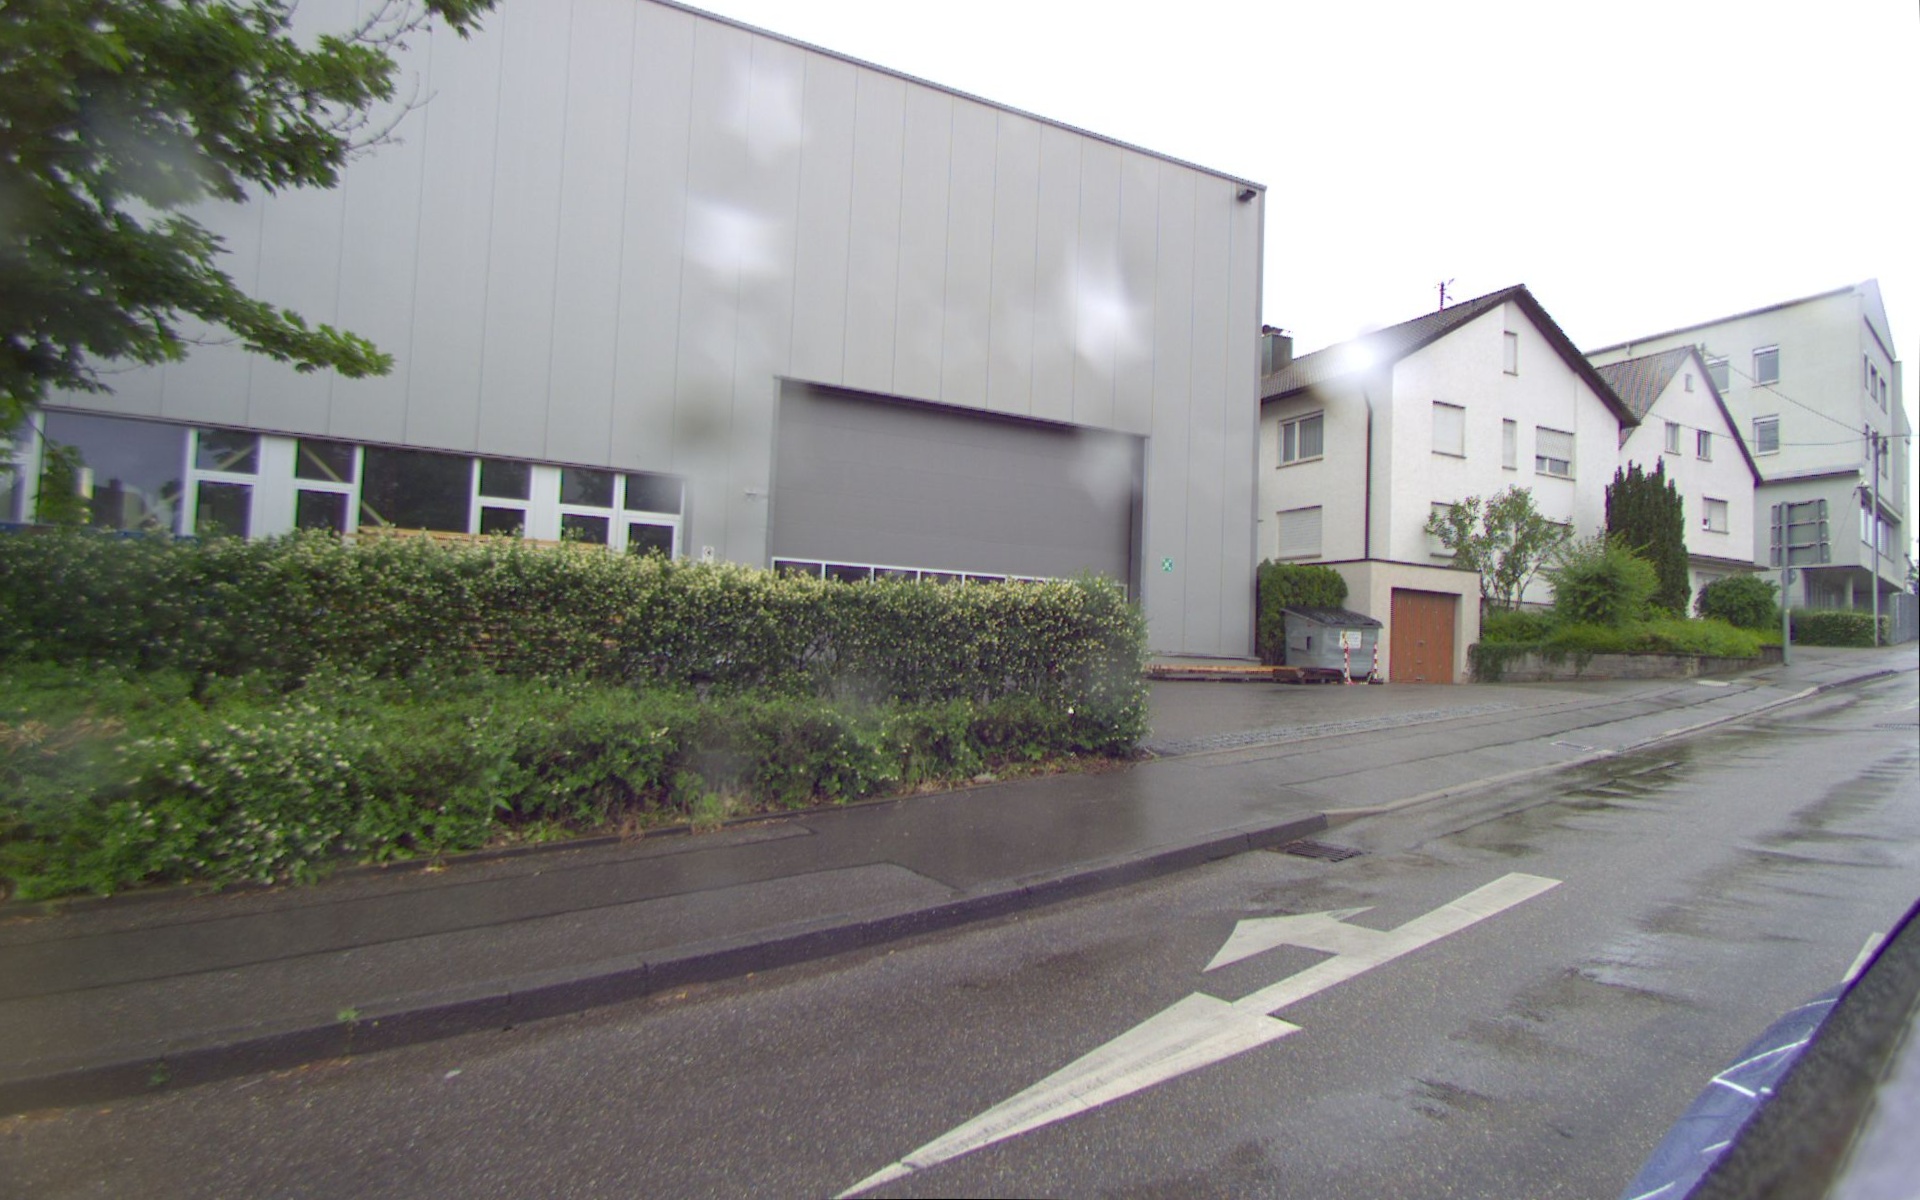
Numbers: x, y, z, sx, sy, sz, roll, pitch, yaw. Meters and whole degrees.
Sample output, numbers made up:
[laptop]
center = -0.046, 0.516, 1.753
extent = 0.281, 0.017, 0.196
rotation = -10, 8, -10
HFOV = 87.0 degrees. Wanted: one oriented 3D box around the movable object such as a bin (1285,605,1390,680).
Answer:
[movable object such as a bin]
center = 8.152, 0.899, 21.876
extent = 1.742, 1.537, 1.268
rotation = 1, 0, -25
